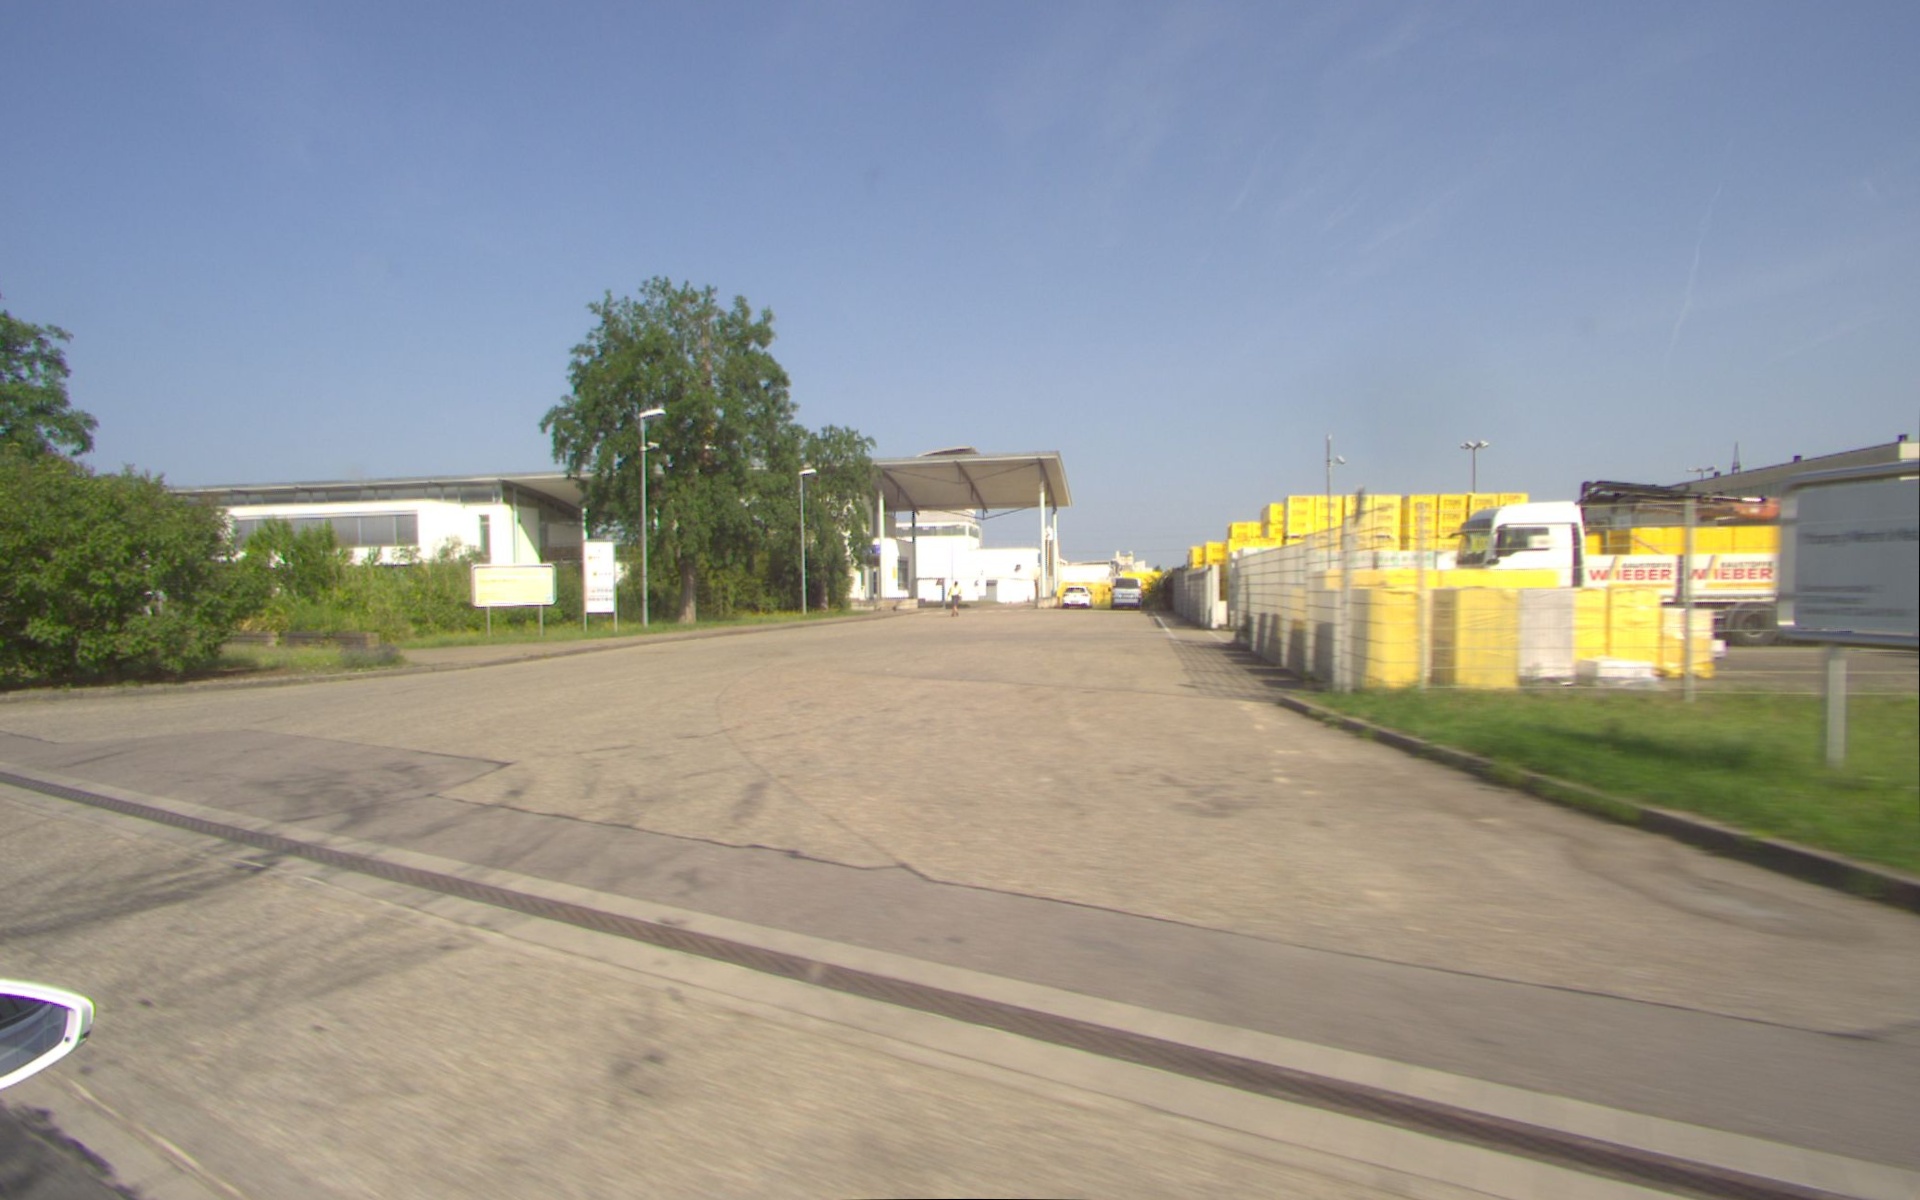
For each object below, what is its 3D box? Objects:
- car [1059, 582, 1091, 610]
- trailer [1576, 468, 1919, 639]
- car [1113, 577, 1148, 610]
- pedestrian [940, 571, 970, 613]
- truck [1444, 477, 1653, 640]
[{"bbox_3d":[7.166,-0.215,62.276,1.695,1.527,4.000,-1,-2,10],"label":"car"},{"bbox_3d":[20.051,-1.032,24.852,7.652,3.925,2.485,-1,-1,10],"label":"trailer"},{"bbox_3d":[10.346,-0.345,60.494,1.962,1.839,3.999,-1,-2,11],"label":"car"},{"bbox_3d":[-0.270,-0.373,49.542,0.971,2.039,1.152,0,-1,-38],"label":"pedestrian"},{"bbox_3d":[14.980,-0.954,25.772,3.924,3.925,2.545,-1,-1,10],"label":"truck"}]
